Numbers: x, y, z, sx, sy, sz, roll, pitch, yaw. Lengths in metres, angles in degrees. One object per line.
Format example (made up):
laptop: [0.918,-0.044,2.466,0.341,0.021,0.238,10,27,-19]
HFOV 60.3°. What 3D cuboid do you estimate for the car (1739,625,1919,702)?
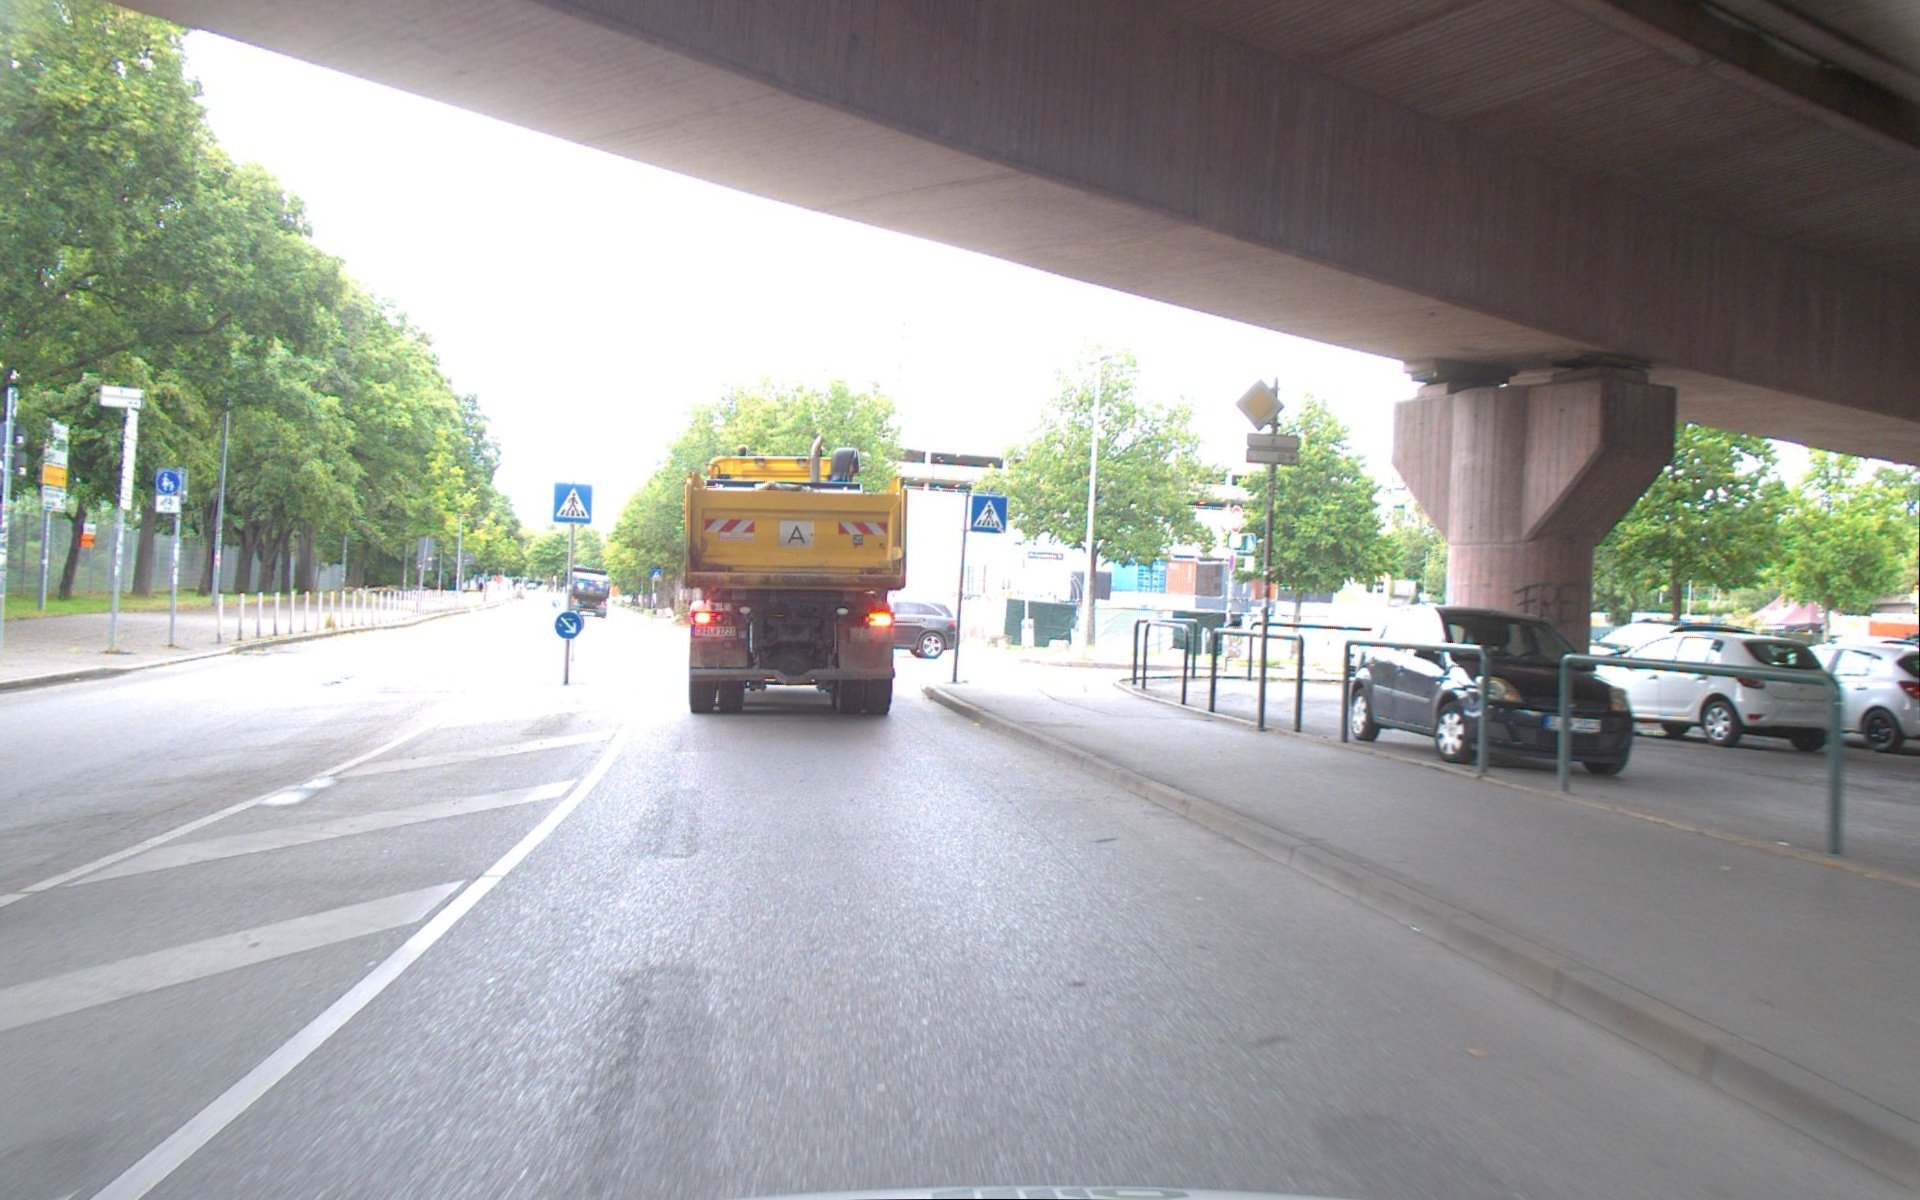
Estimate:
car: [18.013,1.287,33.156,4.292,1.344,1.763,3,0,-18]

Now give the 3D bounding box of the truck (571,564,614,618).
truck: [-25.619,-0.561,115.041,2.629,3.621,7.891,0,-1,-15]

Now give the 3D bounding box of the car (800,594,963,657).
car: [-2.227,0.702,46.595,4.446,1.602,1.844,2,0,-5]

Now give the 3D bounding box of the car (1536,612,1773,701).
car: [13.214,1.075,31.483,4.169,1.445,1.503,3,1,-18]

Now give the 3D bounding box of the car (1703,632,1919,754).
car: [13.210,1.331,24.605,1.669,1.536,3.836,2,0,-22]

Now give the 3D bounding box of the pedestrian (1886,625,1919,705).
pedestrian: [23.444,1.598,40.702,0.810,1.941,0.733,3,-1,-19]

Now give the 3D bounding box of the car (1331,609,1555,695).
car: [8.723,0.937,29.922,3.628,1.353,1.504,3,0,-17]

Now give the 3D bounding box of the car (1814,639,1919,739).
car: [15.459,1.423,25.588,1.669,1.468,3.836,2,0,-22]

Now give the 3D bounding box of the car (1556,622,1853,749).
car: [10.589,1.169,23.843,1.609,1.579,3.989,2,0,-19]

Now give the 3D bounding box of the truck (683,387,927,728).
truck: [-2.371,-0.426,22.370,2.707,3.763,7.861,0,-1,-10]

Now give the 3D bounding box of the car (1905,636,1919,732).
car: [17.404,1.463,26.368,1.669,1.582,3.836,2,0,-22]

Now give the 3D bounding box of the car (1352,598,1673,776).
car: [5.203,0.755,16.060,1.575,1.421,3.575,4,0,-5]
